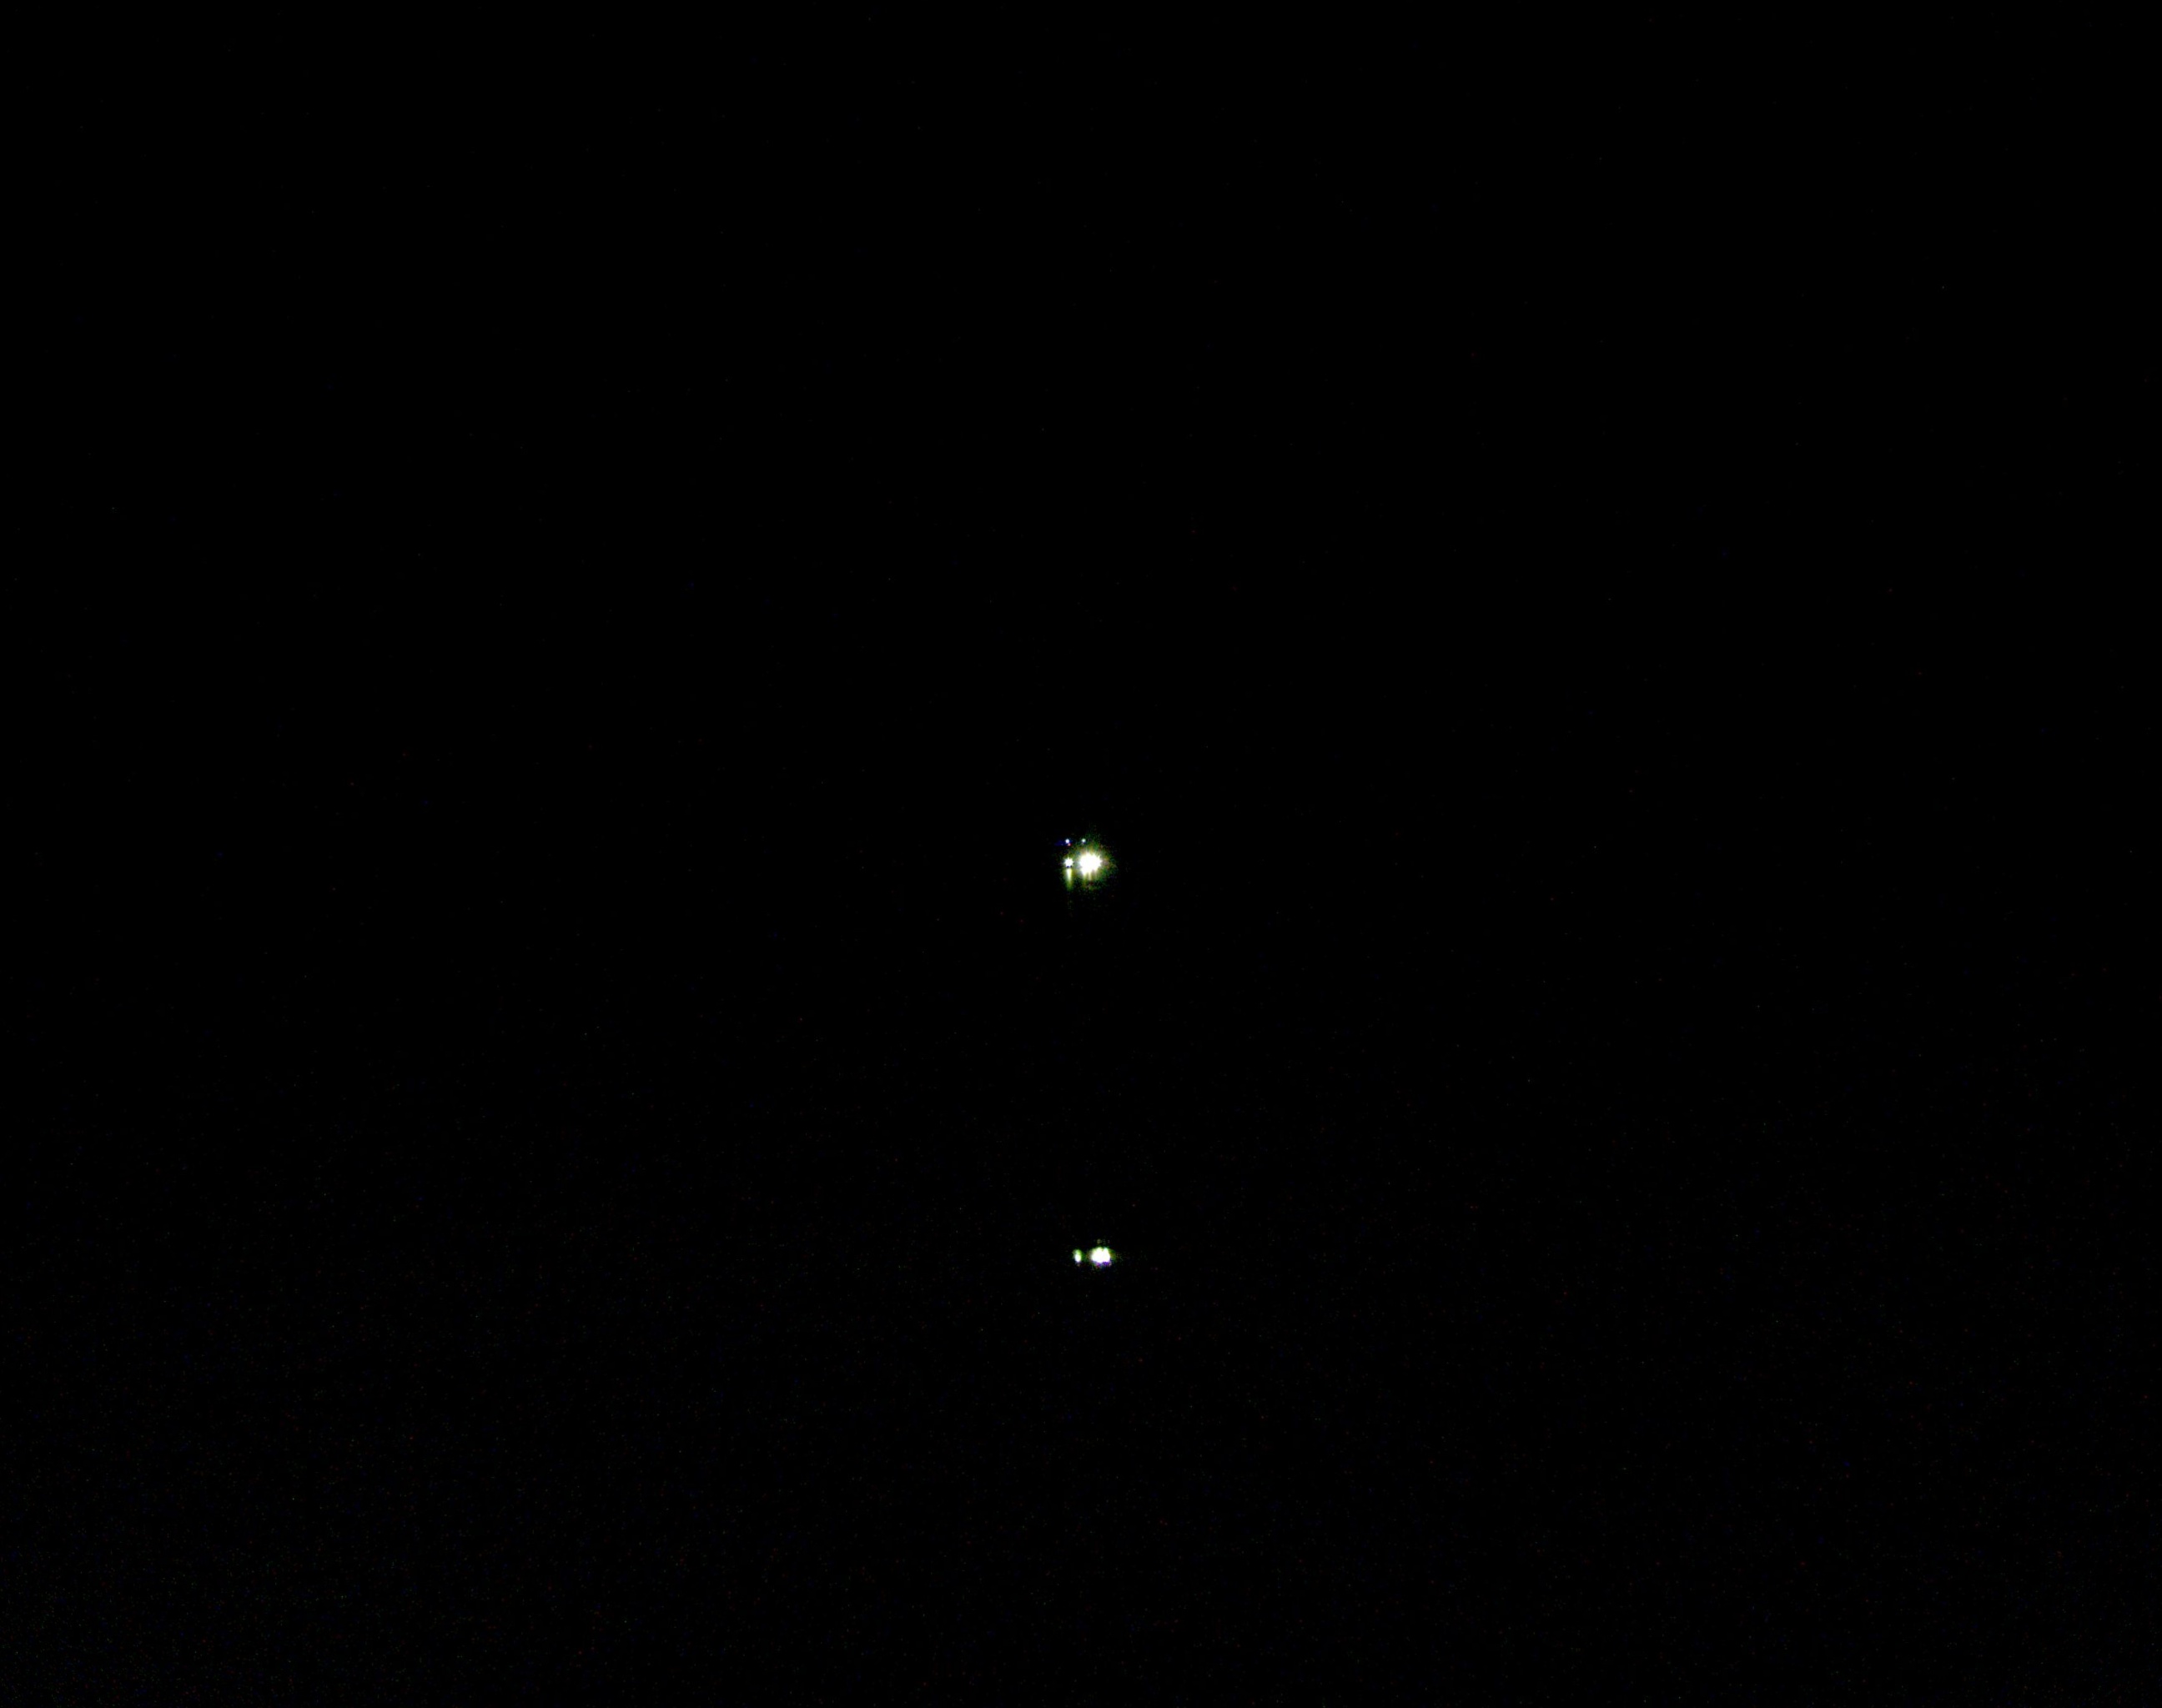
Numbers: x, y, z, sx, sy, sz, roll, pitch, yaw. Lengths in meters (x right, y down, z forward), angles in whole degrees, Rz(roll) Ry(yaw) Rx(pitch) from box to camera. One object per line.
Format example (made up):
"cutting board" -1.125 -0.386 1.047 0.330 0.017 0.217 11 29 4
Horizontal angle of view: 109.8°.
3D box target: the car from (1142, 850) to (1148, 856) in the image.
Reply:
"car" 21.949 -0.326 260.615 1.998 2.231 4.000 -2 0 1

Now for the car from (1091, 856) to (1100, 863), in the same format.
"car" 3.374 1.331 180.760 1.845 1.475 4.293 -2 0 4

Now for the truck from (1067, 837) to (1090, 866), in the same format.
"truck" -0.254 -0.407 110.105 3.003 3.877 12.887 -2 0 1
